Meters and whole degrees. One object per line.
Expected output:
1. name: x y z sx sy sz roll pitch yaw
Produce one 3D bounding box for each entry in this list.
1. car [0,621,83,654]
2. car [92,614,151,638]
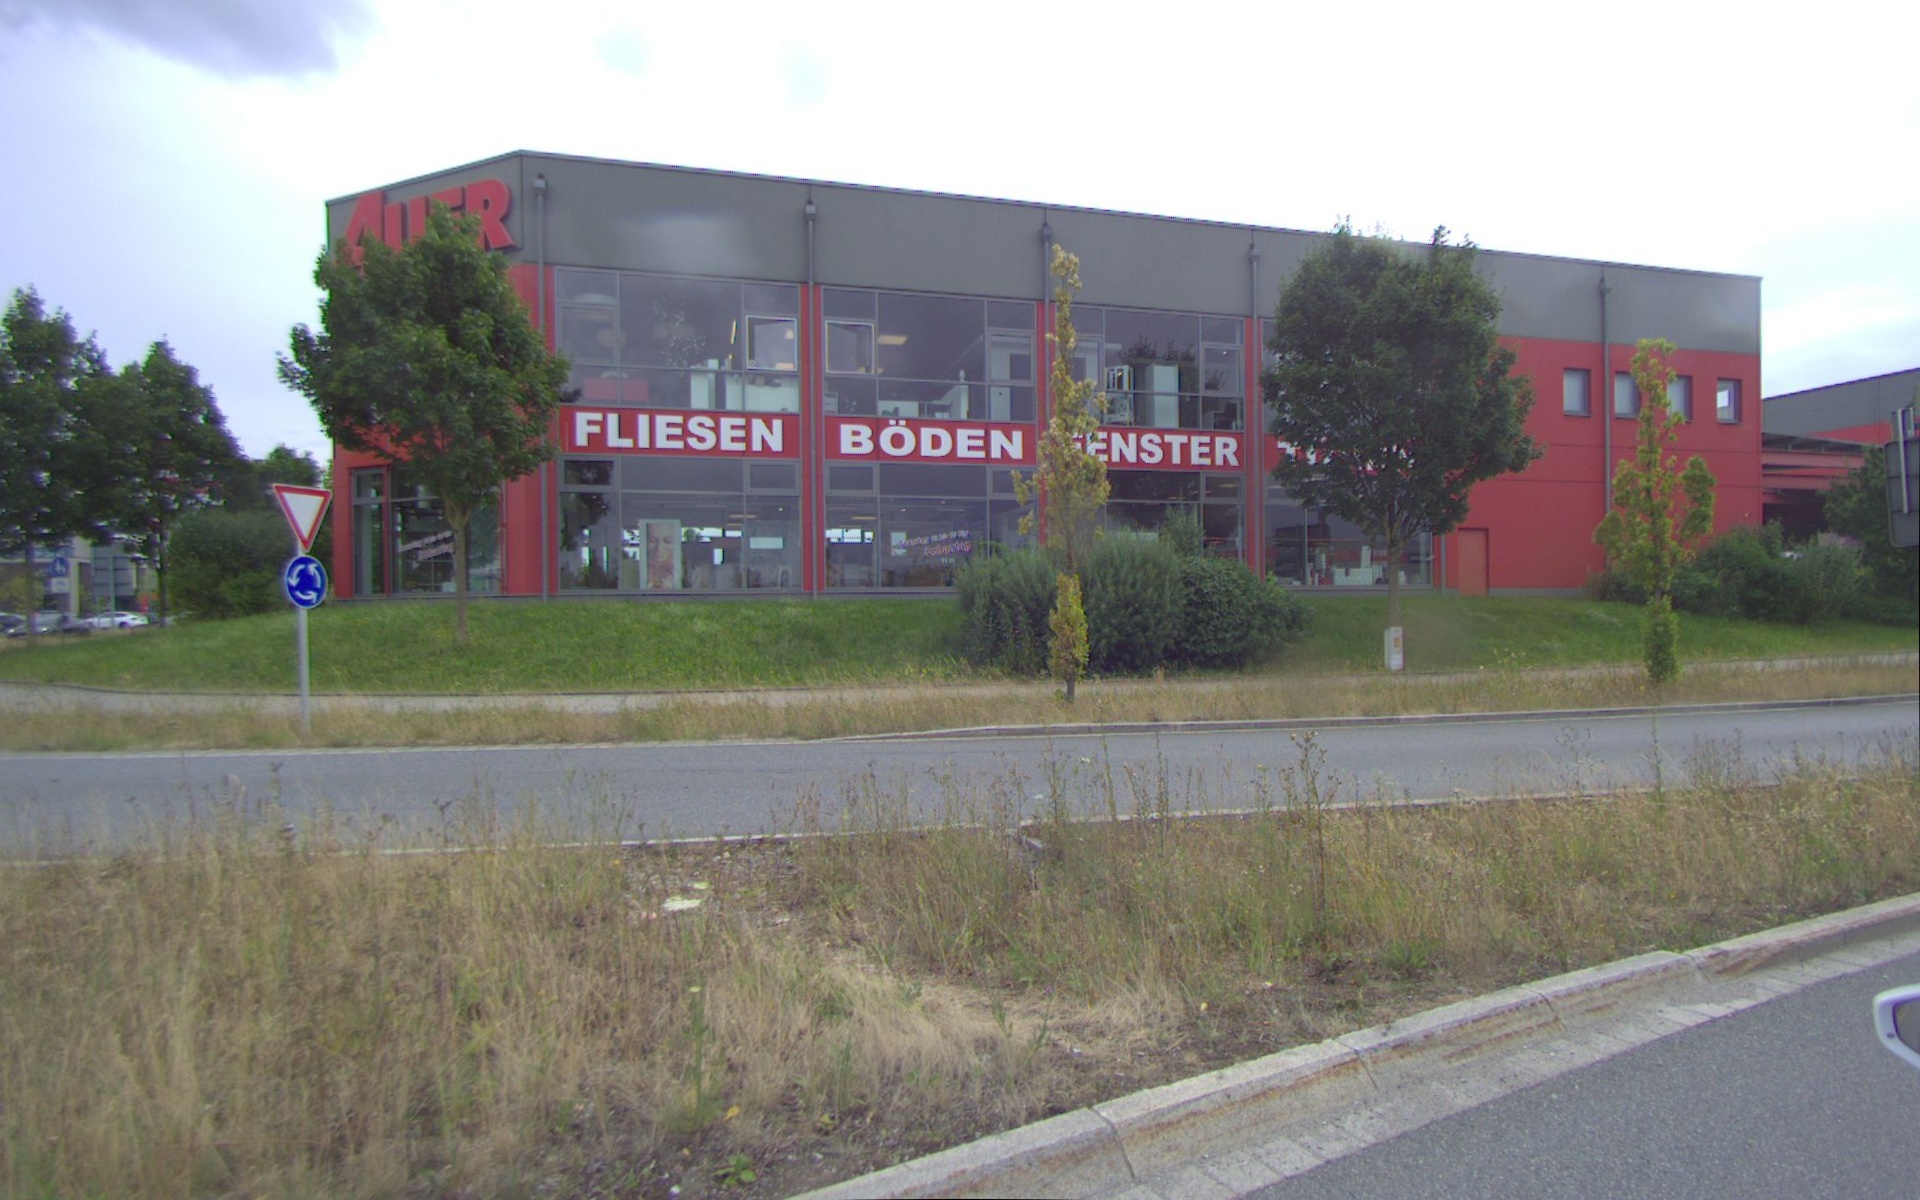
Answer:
1. car: -49.578 1.990 54.229 1.911 1.617 3.758 1 0 -17
2. car: -73.130 2.271 87.633 3.700 2.040 1.647 1 0 -4
